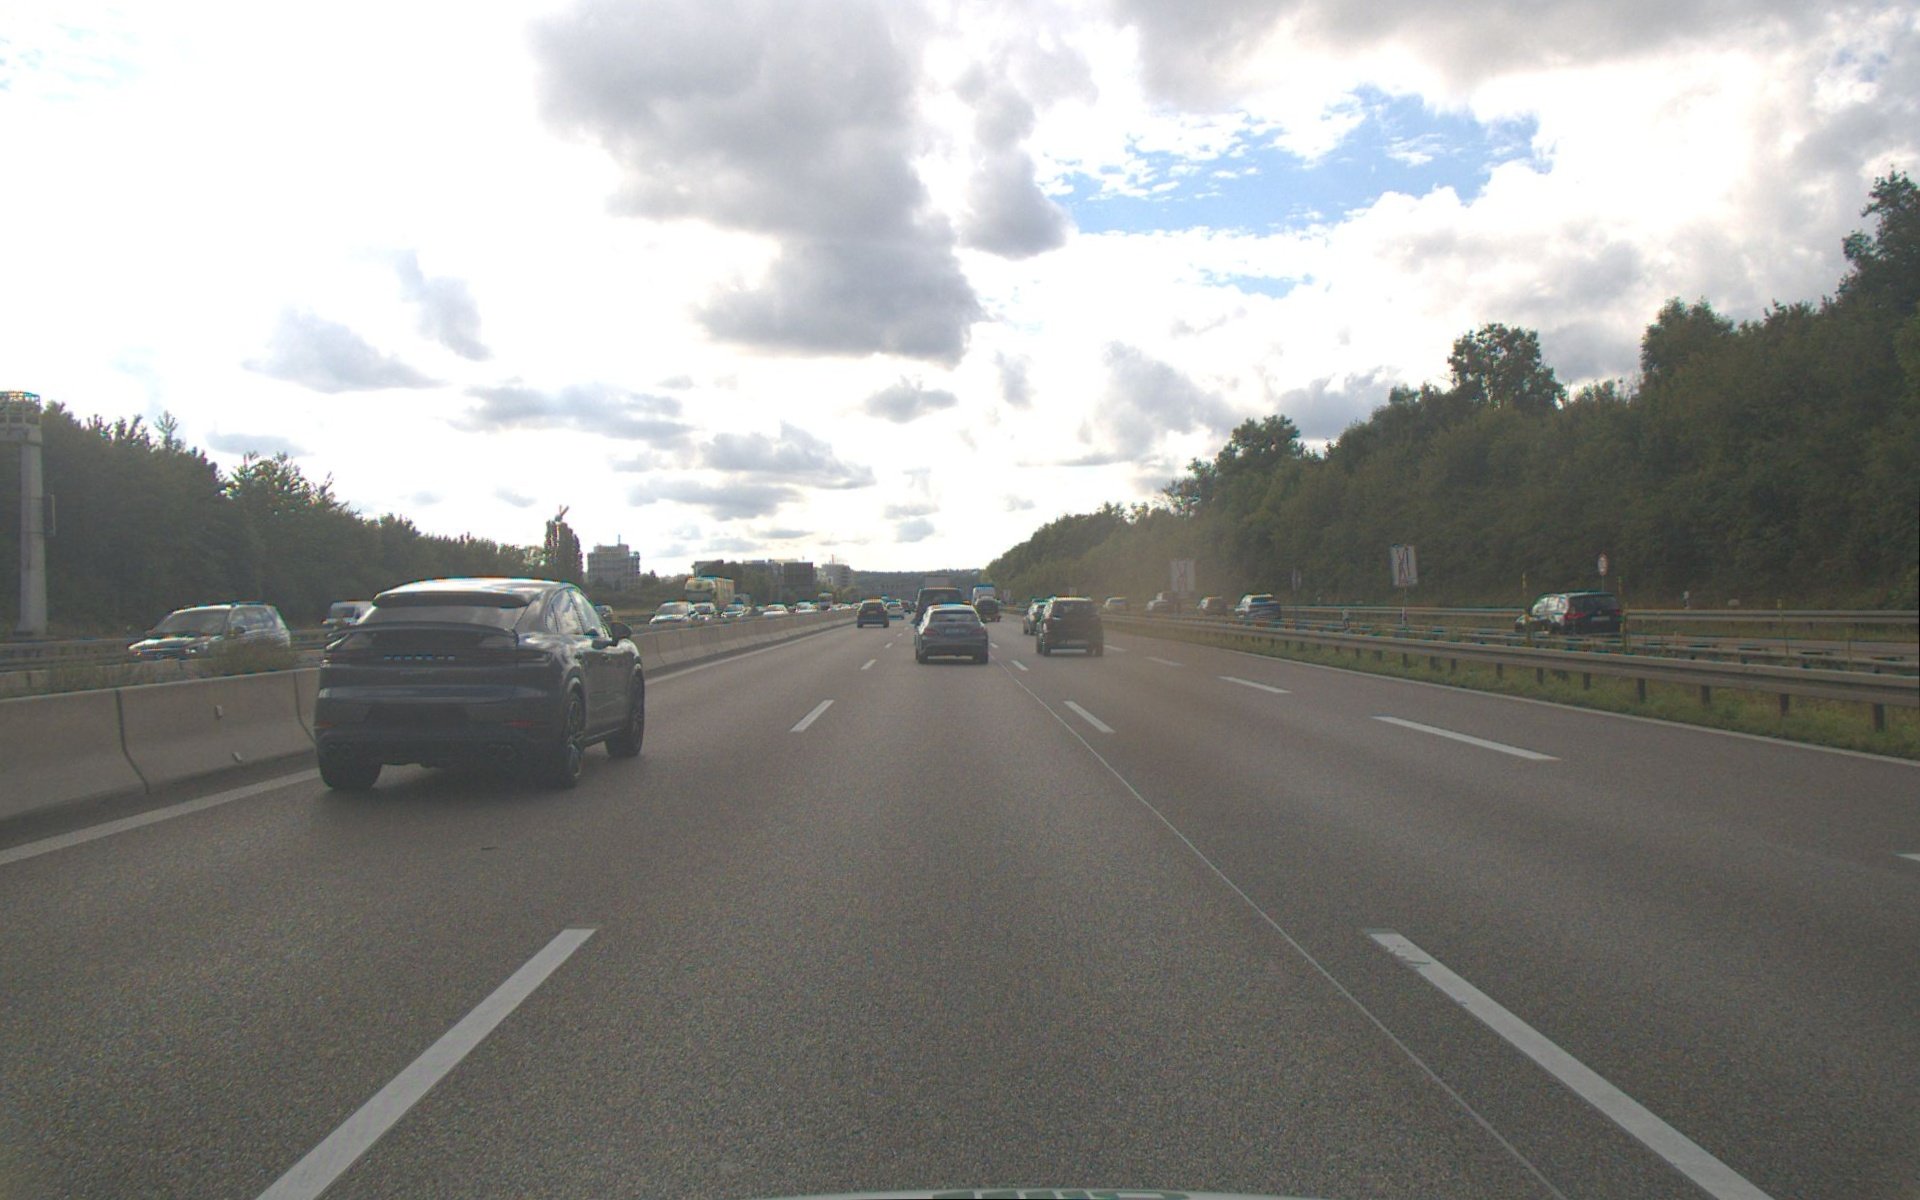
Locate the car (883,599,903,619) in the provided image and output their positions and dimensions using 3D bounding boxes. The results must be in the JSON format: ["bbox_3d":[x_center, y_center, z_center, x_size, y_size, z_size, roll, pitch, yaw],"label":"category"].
[{"bbox_3d":[-5.698,0.738,141.374,1.663,1.639,4.112,-1,0,-2],"label":"car"}]

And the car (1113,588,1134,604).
[{"bbox_3d":[17.961,-0.436,181.884,1.716,1.725,4.189,-1,0,-1],"label":"car"}]

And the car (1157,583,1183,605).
[{"bbox_3d":[18.440,-0.514,145.213,1.563,1.835,3.823,-1,0,-3],"label":"car"}]

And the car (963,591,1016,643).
[{"bbox_3d":[1.028,0.566,59.088,1.686,1.754,4.390,-1,0,-1],"label":"car"}]

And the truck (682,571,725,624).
[{"bbox_3d":[-22.033,-0.262,142.404,2.838,4.399,5.161,-2,0,-1],"label":"truck"}]

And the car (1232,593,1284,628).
[{"bbox_3d":[15.871,0.548,88.279,1.809,1.678,4.305,-3,1,-1],"label":"car"}]

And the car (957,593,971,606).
[{"bbox_3d":[0.481,-0.092,217.515,1.716,1.725,4.189,-1,0,-1],"label":"car"}]

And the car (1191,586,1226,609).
[{"bbox_3d":[18.329,-0.198,122.273,1.694,1.572,4.304,-3,1,-3],"label":"car"}]

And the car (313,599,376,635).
[{"bbox_3d":[-41.453,1.108,111.524,1.953,2.273,5.890,-2,0,0],"label":"car"}]

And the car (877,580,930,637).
[{"bbox_3d":[-1.999,0.290,59.328,1.817,1.944,4.259,-1,0,-1],"label":"car"}]

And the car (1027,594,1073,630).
[{"bbox_3d":[4.138,0.530,76.513,1.795,1.547,4.224,-1,0,-1],"label":"car"}]

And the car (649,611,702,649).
[{"bbox_3d":[-13.116,1.373,76.468,1.736,1.639,4.464,-1,0,-1],"label":"car"}]

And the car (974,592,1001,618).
[{"bbox_3d":[2.110,0.352,127.572,1.874,1.952,4.029,-1,0,-1],"label":"car"}]

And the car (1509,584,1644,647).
[{"bbox_3d":[16.440,0.366,44.371,1.806,1.510,4.525,-3,1,-1],"label":"car"}]

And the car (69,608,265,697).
[{"bbox_3d":[-16.004,0.997,33.671,1.738,1.588,4.780,-2,0,-2],"label":"car"}]

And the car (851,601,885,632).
[{"bbox_3d":[-5.431,0.963,98.405,1.835,1.727,4.071,-1,0,-1],"label":"car"}]

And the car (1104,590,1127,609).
[{"bbox_3d":[14.542,-0.093,154.718,1.716,1.725,4.189,-1,0,-1],"label":"car"}]

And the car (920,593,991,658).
[{"bbox_3d":[-0.152,0.607,42.120,1.686,1.505,4.390,-1,0,-1],"label":"car"}]

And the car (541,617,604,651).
[{"bbox_3d":[-16.871,1.466,72.180,1.735,1.317,4.674,-1,0,-1],"label":"car"}]

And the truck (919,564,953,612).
[{"bbox_3d":[-2.339,-1.181,161.163,3.197,4.451,11.023,0,0,-1],"label":"truck"}]

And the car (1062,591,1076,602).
[{"bbox_3d":[16.329,-0.507,247.701,1.717,1.543,4.188,-1,0,-2],"label":"car"}]

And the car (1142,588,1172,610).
[{"bbox_3d":[14.747,-0.056,123.902,1.563,1.573,4.188,-1,0,-3],"label":"car"}]

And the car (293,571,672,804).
[{"bbox_3d":[-3.965,0.616,14.827,1.873,1.664,5.499,-1,0,-1],"label":"car"}]

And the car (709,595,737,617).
[{"bbox_3d":[-18.089,0.440,126.497,1.562,1.639,4.463,-1,0,-1],"label":"car"}]

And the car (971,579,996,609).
[{"bbox_3d":[1.900,-0.495,134.430,1.835,2.398,4.281,-1,0,-1],"label":"car"}]

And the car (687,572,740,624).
[{"bbox_3d":[-22.181,-0.246,149.403,2.847,4.400,14.142,-2,0,-1],"label":"car"}]

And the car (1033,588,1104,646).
[{"bbox_3d":[3.108,0.466,48.080,1.663,1.592,4.112,-1,0,-2],"label":"car"}]
